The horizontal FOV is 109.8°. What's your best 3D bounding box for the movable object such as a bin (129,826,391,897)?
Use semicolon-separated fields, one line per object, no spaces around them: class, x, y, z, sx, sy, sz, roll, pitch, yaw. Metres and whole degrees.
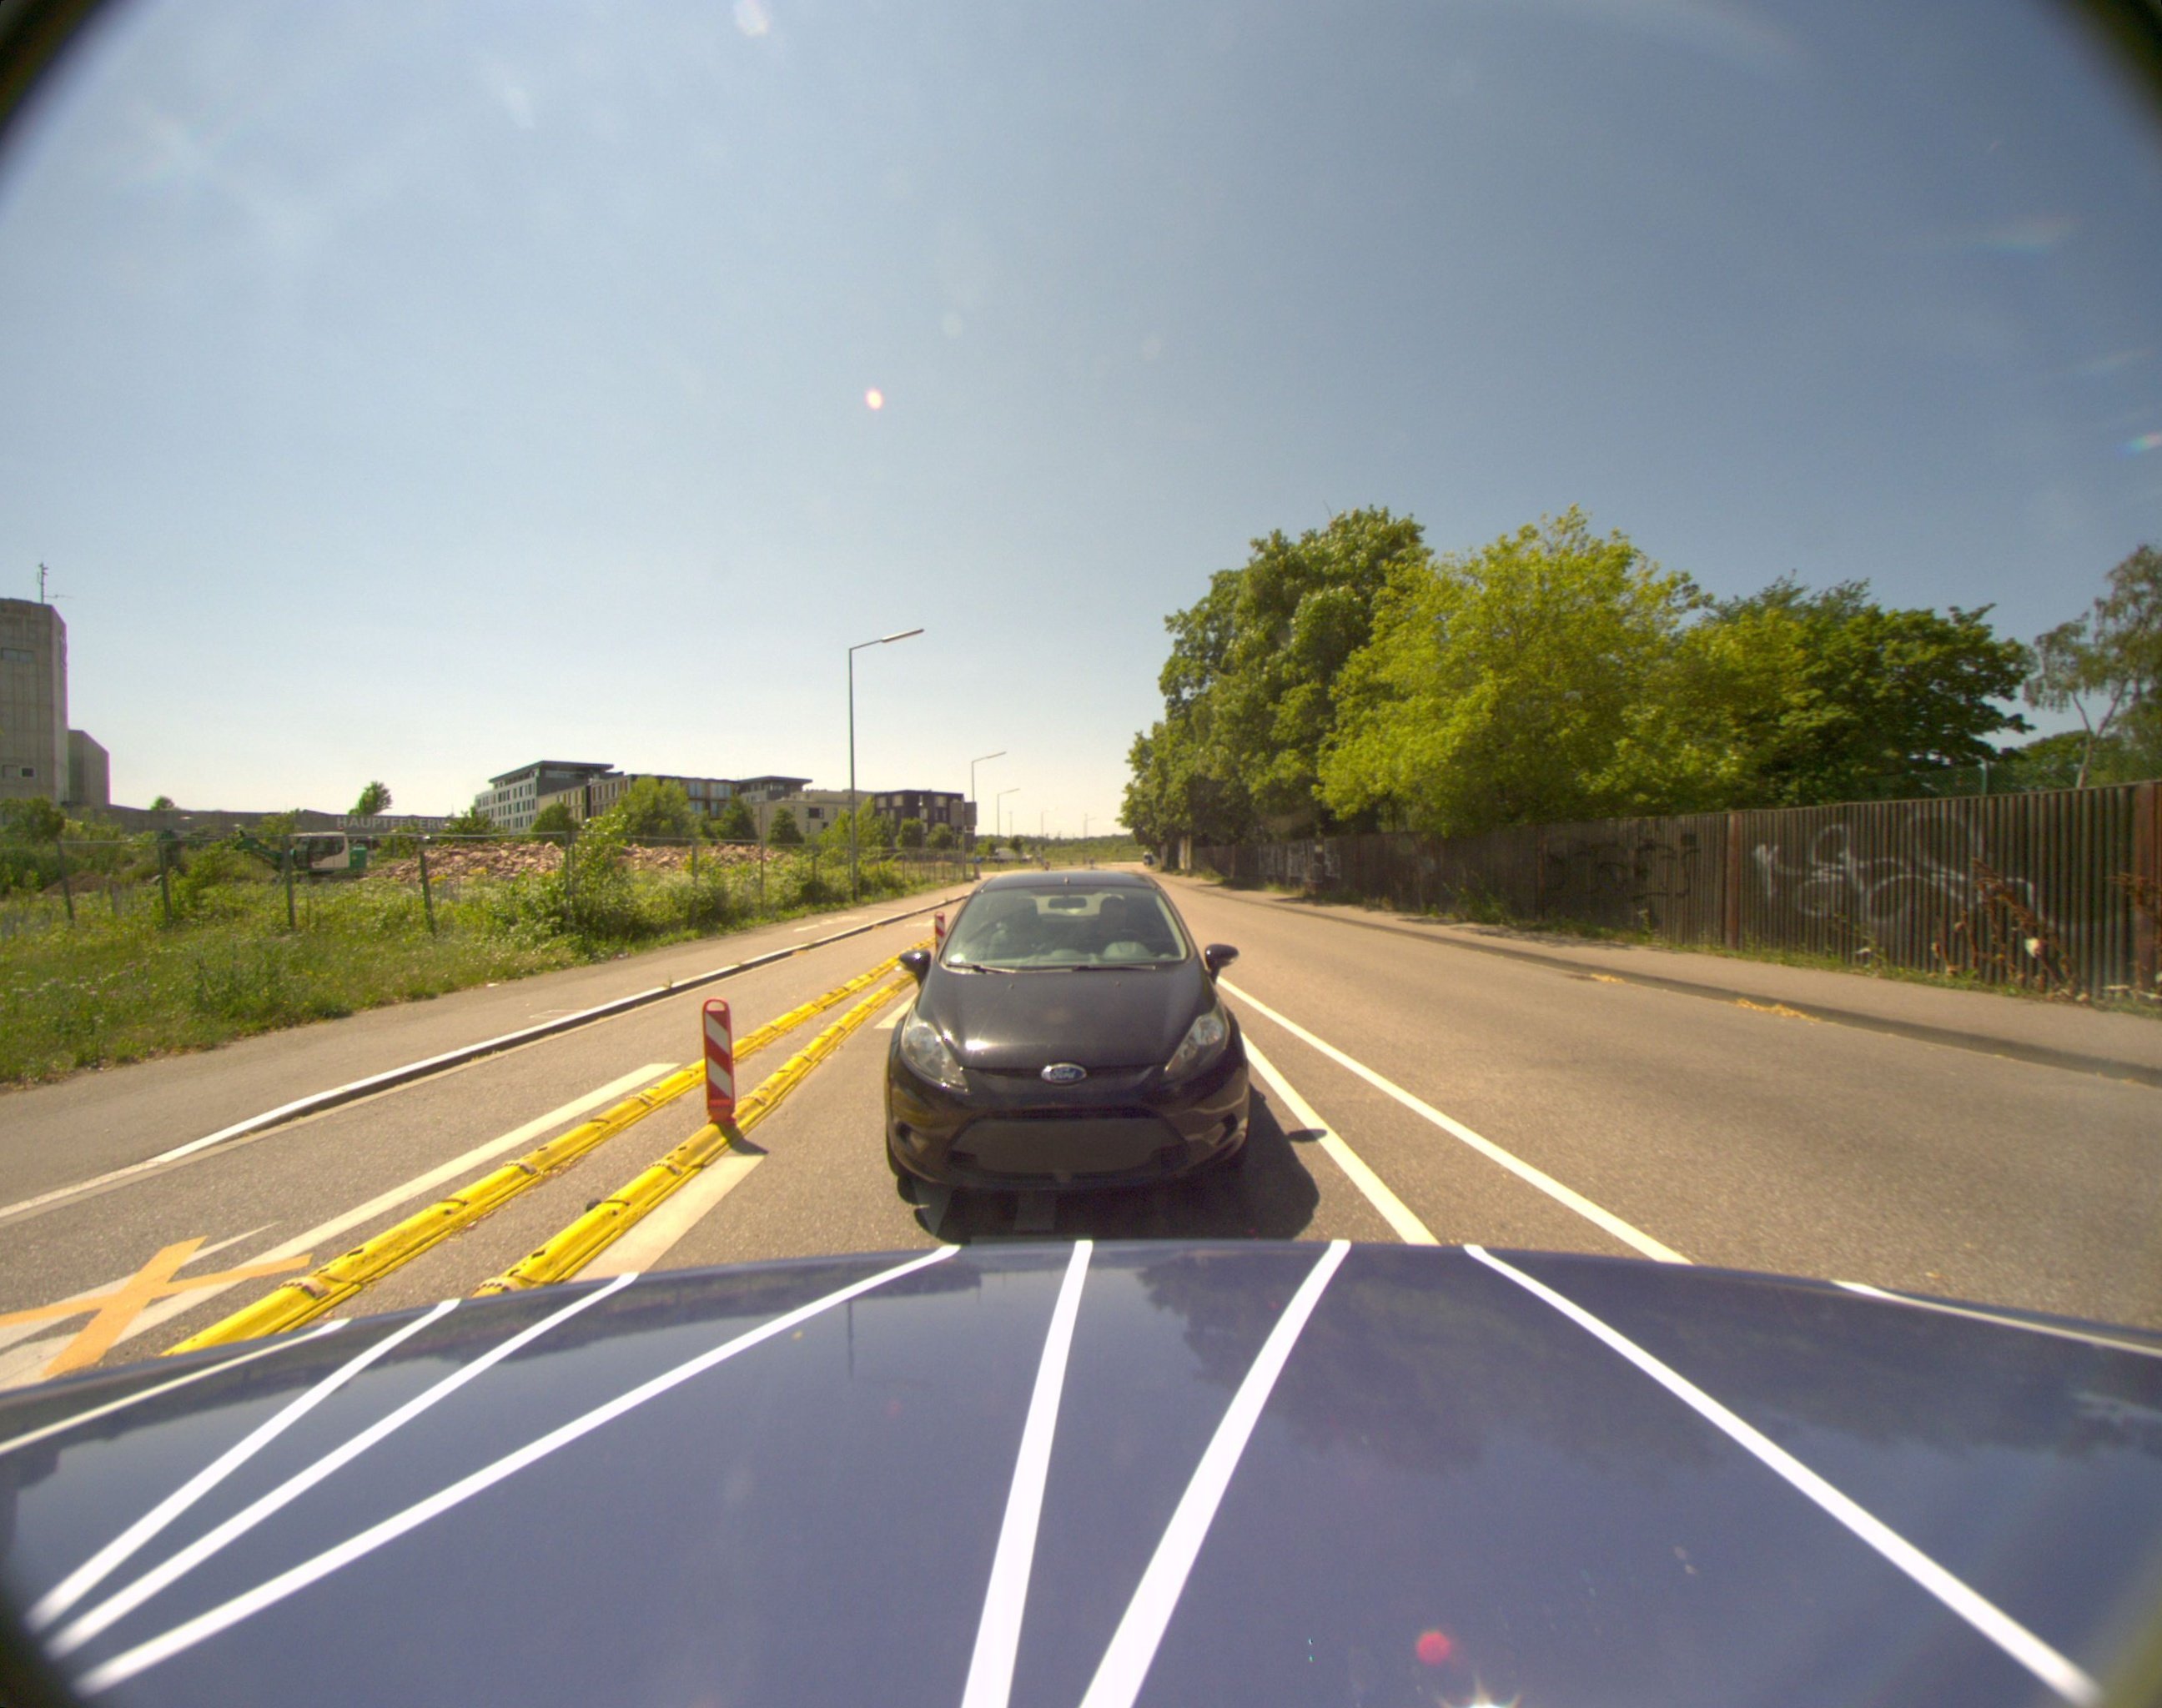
movable object such as a bin;-38.340;0.258;36.013;3.231;2.899;7.702;-2;1;15

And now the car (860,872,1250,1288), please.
car;-0.078;0.973;5.090;1.528;1.510;3.999;-2;1;1
